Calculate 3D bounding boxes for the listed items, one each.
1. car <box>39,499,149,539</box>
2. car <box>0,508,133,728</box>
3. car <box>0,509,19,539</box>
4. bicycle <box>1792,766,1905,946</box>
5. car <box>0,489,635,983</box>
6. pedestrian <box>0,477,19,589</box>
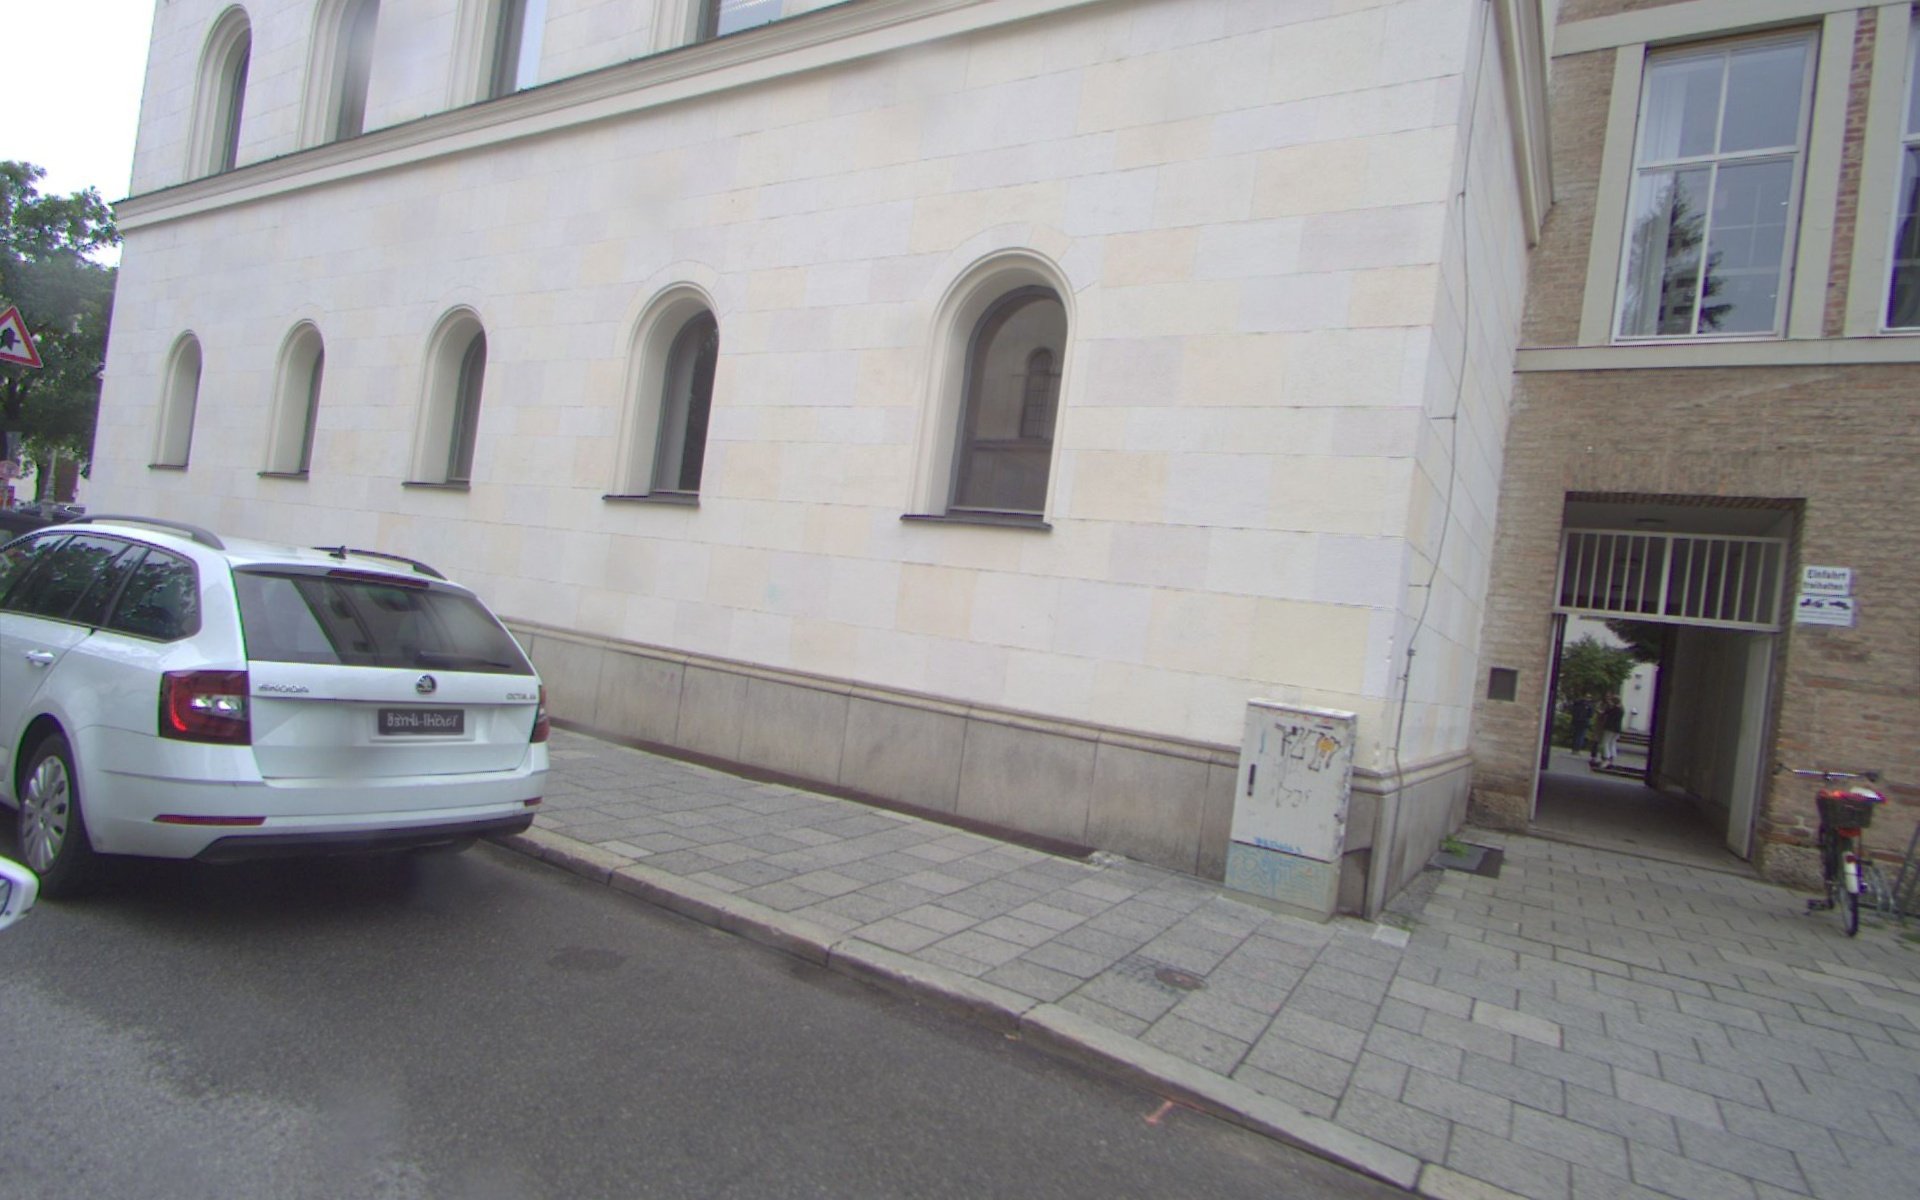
[{"bbox_3d":[-49.410,-4.591,57.459,1.774,1.434,4.364,8,-1,33],"label":"car"},{"bbox_3d":[-7.962,-0.064,7.535,3.710,1.442,1.543,7,-2,33],"label":"car"},{"bbox_3d":[-52.509,-4.306,52.682,1.774,1.434,4.364,8,-1,33],"label":"car"},{"bbox_3d":[6.525,1.826,7.435,0.343,1.054,1.630,8,0,35],"label":"bicycle"},{"bbox_3d":[-3.868,0.340,5.137,4.242,1.494,1.792,7,0,33],"label":"car"},{"bbox_3d":[-15.012,-1.071,15.334,0.536,1.700,0.622,8,-2,26],"label":"pedestrian"}]
